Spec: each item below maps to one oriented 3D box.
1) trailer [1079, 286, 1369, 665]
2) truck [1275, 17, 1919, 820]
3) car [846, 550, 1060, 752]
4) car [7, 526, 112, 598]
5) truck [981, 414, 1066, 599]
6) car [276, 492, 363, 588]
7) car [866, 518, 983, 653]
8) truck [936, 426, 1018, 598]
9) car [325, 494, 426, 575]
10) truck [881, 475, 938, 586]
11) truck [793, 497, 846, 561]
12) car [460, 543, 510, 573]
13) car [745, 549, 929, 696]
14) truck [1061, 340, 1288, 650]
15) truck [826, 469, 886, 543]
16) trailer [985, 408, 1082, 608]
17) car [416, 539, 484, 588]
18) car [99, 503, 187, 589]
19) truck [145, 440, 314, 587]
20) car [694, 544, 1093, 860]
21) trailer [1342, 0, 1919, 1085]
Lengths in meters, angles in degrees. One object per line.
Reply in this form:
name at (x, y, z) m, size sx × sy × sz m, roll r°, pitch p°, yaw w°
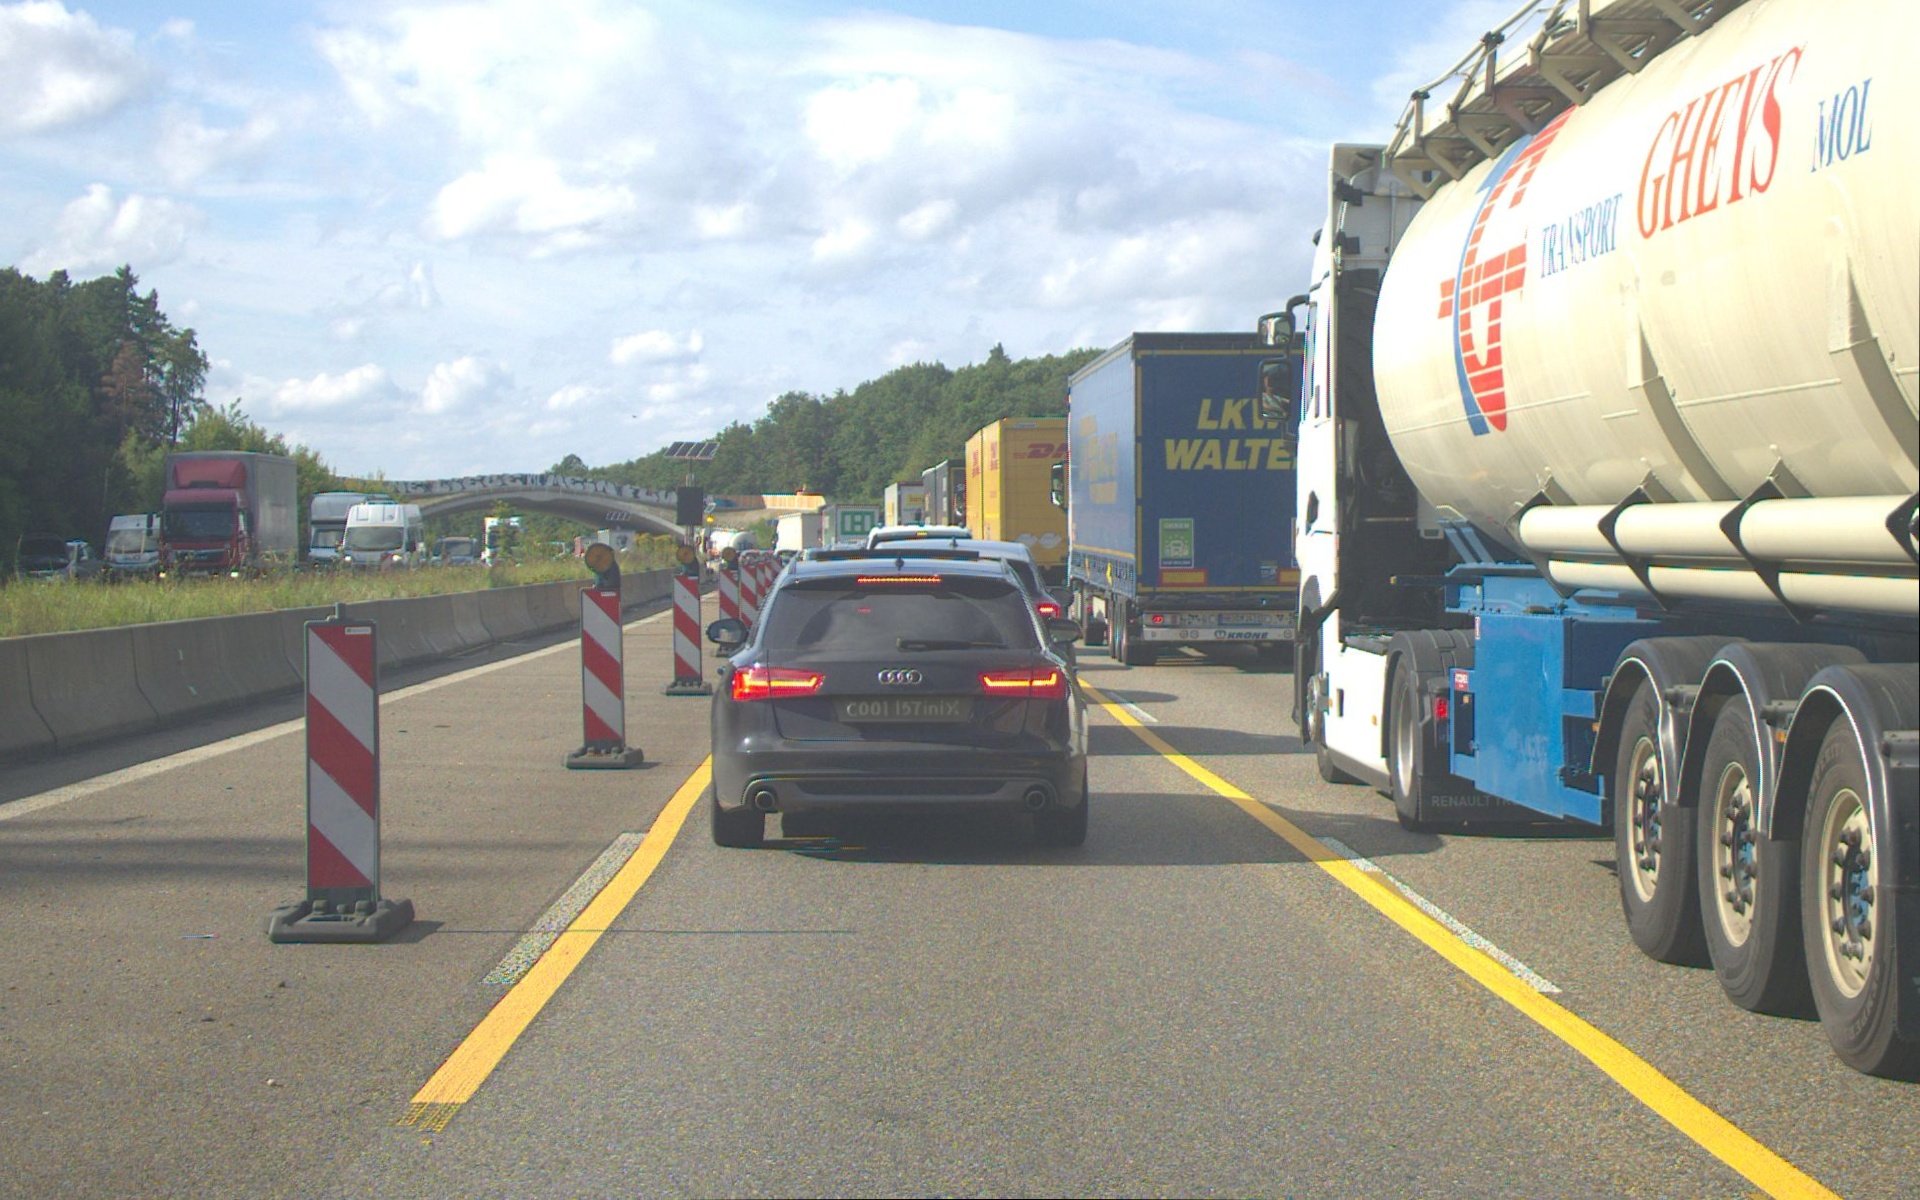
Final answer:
trailer at (3.265, -1.499, 45.433) m, size 2.805 × 4.398 × 10.433 m, roll 1°, pitch 0°, yaw -1°
truck at (3.502, -0.926, 20.010) m, size 2.659 × 3.958 × 5.779 m, roll 1°, pitch 0°, yaw -1°
car at (-0.074, 0.350, 26.372) m, size 1.524 × 1.434 × 3.285 m, roll 1°, pitch 0°, yaw -1°
car at (-25.872, -1.090, 98.922) m, size 1.993 × 2.007 × 4.000 m, roll 1°, pitch 0°, yaw -1°
truck at (1.350, -1.982, 74.484) m, size 1.609 × 3.883 × 4.072 m, roll 1°, pitch 0°, yaw -2°
car at (-23.274, -2.145, 125.202) m, size 2.486 × 3.358 × 7.454 m, roll 1°, pitch 0°, yaw -6°
car at (-0.510, -0.214, 48.874) m, size 1.581 × 1.830 × 3.112 m, roll 1°, pitch 0°, yaw -1°
truck at (0.445, -2.602, 103.176) m, size 1.993 × 4.897 × 9.563 m, roll 1°, pitch 1°, yaw -2°
car at (-18.326, -2.060, 108.041) m, size 2.160 × 2.443 × 6.332 m, roll 1°, pitch 1°, yaw -1°
truck at (-2.011, -2.703, 136.137) m, size 2.137 × 4.243 × 7.072 m, roll 1°, pitch 0°, yaw -1°
truck at (-9.412, -4.744, 229.454) m, size 3.303 × 4.160 × 9.704 m, roll 0°, pitch 1°, yaw -4°
car at (-22.453, -1.965, 162.628) m, size 1.779 × 1.382 × 4.310 m, roll 1°, pitch 0°, yaw -1°
car at (-1.205, 0.197, 34.884) m, size 1.751 × 1.392 × 3.608 m, roll 1°, pitch 0°, yaw -1°
truck at (3.152, -1.522, 52.639) m, size 2.806 × 4.354 × 7.792 m, roll 1°, pitch 0°, yaw -1°
truck at (-6.049, -5.397, 199.237) m, size 3.303 × 4.160 × 9.703 m, roll 0°, pitch 1°, yaw -3°
trailer at (1.466, -1.843, 70.742) m, size 1.616 × 3.905 × 6.490 m, roll 1°, pitch 0°, yaw -2°
car at (-19.212, -1.362, 129.629) m, size 1.944 × 1.806 × 4.119 m, roll 1°, pitch 0°, yaw -1°
car at (-25.816, -1.693, 108.778) m, size 2.250 × 2.634 × 5.021 m, roll 1°, pitch 0°, yaw -8°
truck at (-20.918, -2.461, 99.024) m, size 2.800 × 3.978 × 10.186 m, roll 1°, pitch 1°, yaw -1°
car at (-0.335, 0.457, 17.973) m, size 1.848 × 1.458 × 4.000 m, roll 0°, pitch 0°, yaw -1°
trailer at (3.625, -0.828, 13.266) m, size 2.644 × 3.929 × 12.598 m, roll 1°, pitch 1°, yaw -1°
